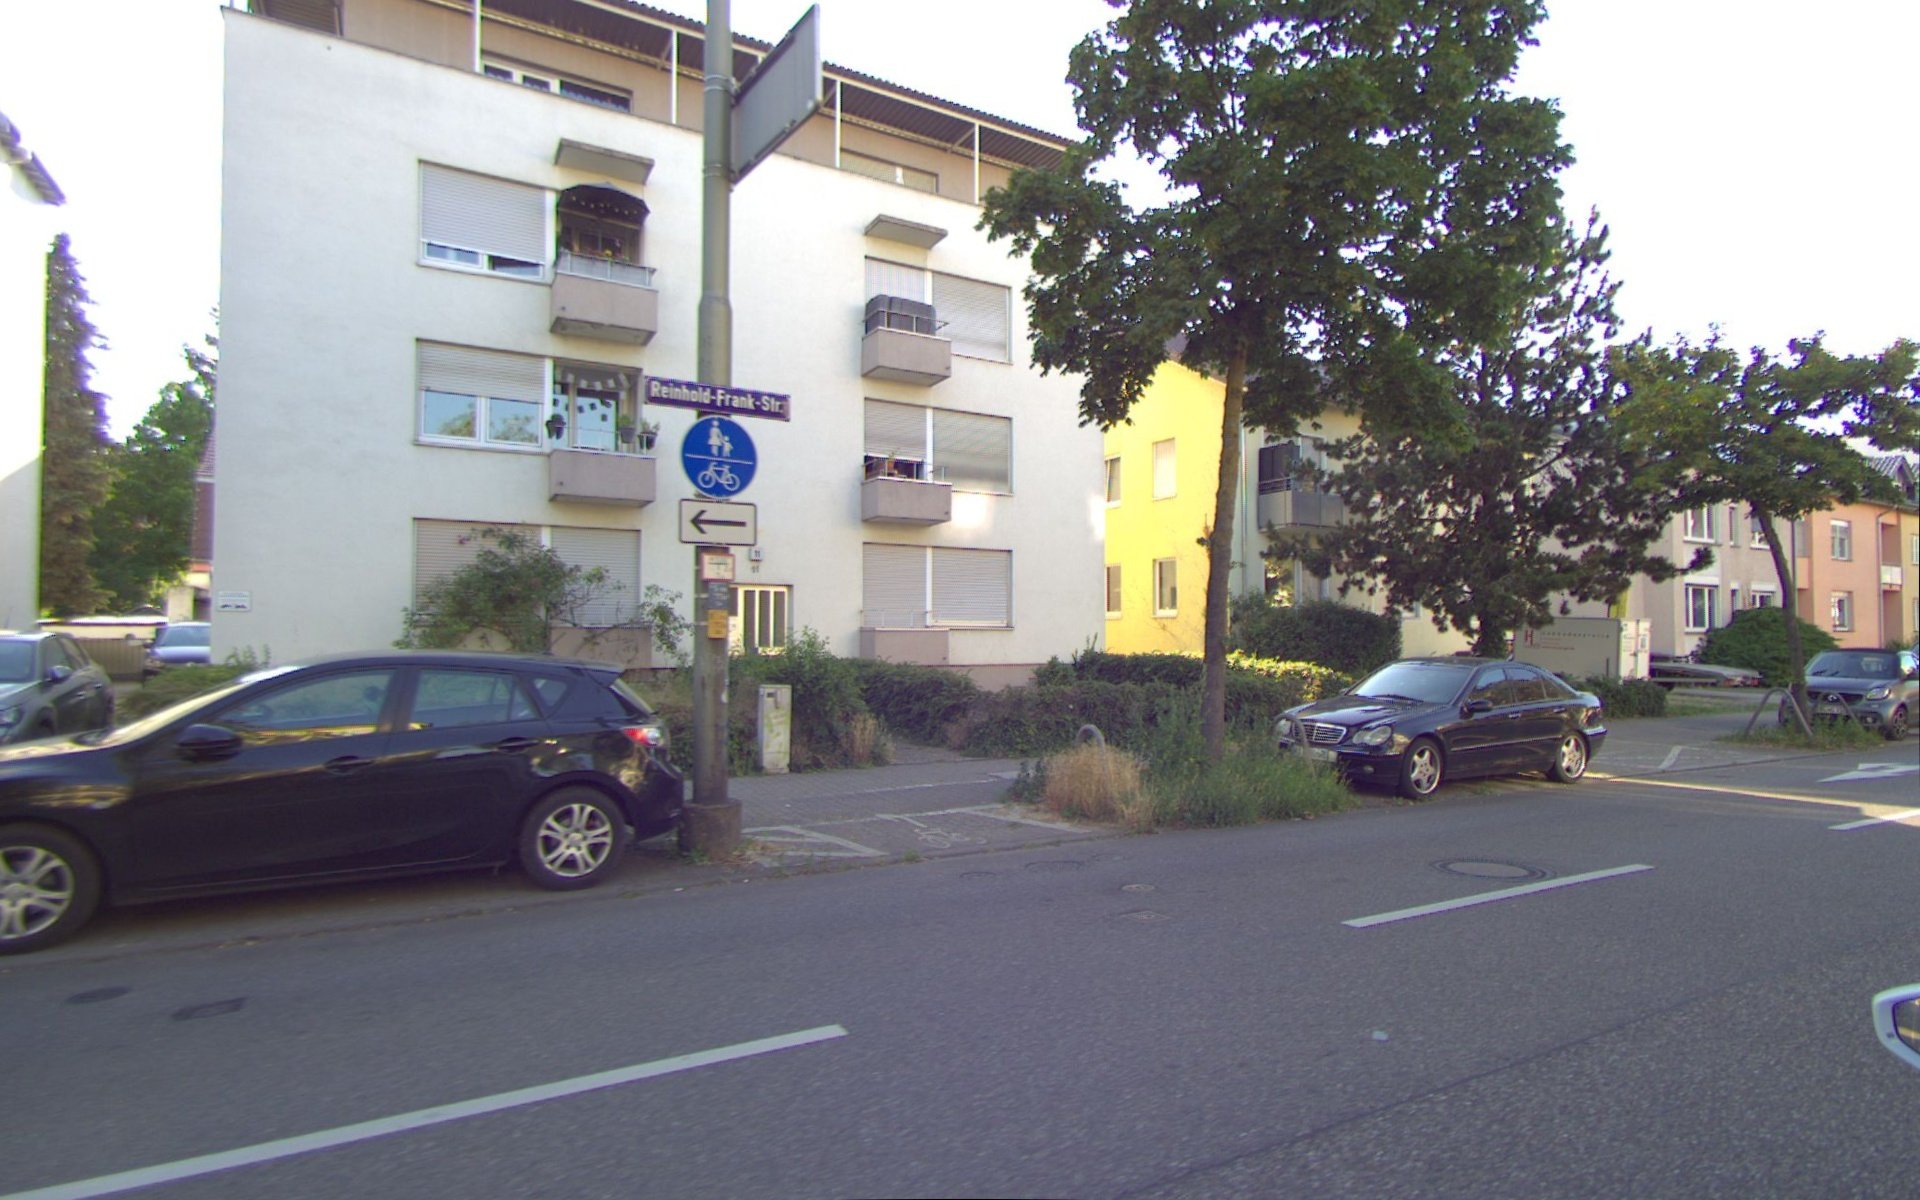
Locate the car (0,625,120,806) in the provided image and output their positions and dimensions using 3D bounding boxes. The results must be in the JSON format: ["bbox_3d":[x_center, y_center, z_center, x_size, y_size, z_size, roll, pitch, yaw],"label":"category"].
[{"bbox_3d":[-9.824,1.008,9.813,1.979,1.498,3.964,1,-1,-33],"label":"car"}]

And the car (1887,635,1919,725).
[{"bbox_3d":[20.695,1.604,20.572,3.650,1.780,1.500,1,-2,-31],"label":"car"}]

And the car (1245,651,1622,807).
[{"bbox_3d":[5.519,1.341,11.578,4.372,1.439,1.746,1,-2,-30],"label":"car"}]

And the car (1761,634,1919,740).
[{"bbox_3d":[16.593,1.512,18.466,3.548,1.763,1.742,1,-2,-30],"label":"car"}]

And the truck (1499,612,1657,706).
[{"bbox_3d":[14.936,1.396,24.403,1.528,2.121,2.900,1,-2,-30],"label":"truck"}]

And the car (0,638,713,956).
[{"bbox_3d":[-3.856,1.005,6.290,4.197,1.517,1.709,1,-2,-30],"label":"car"}]

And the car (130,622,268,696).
[{"bbox_3d":[-17.031,1.254,22.678,1.784,1.498,3.972,1,-1,-27],"label":"car"}]
